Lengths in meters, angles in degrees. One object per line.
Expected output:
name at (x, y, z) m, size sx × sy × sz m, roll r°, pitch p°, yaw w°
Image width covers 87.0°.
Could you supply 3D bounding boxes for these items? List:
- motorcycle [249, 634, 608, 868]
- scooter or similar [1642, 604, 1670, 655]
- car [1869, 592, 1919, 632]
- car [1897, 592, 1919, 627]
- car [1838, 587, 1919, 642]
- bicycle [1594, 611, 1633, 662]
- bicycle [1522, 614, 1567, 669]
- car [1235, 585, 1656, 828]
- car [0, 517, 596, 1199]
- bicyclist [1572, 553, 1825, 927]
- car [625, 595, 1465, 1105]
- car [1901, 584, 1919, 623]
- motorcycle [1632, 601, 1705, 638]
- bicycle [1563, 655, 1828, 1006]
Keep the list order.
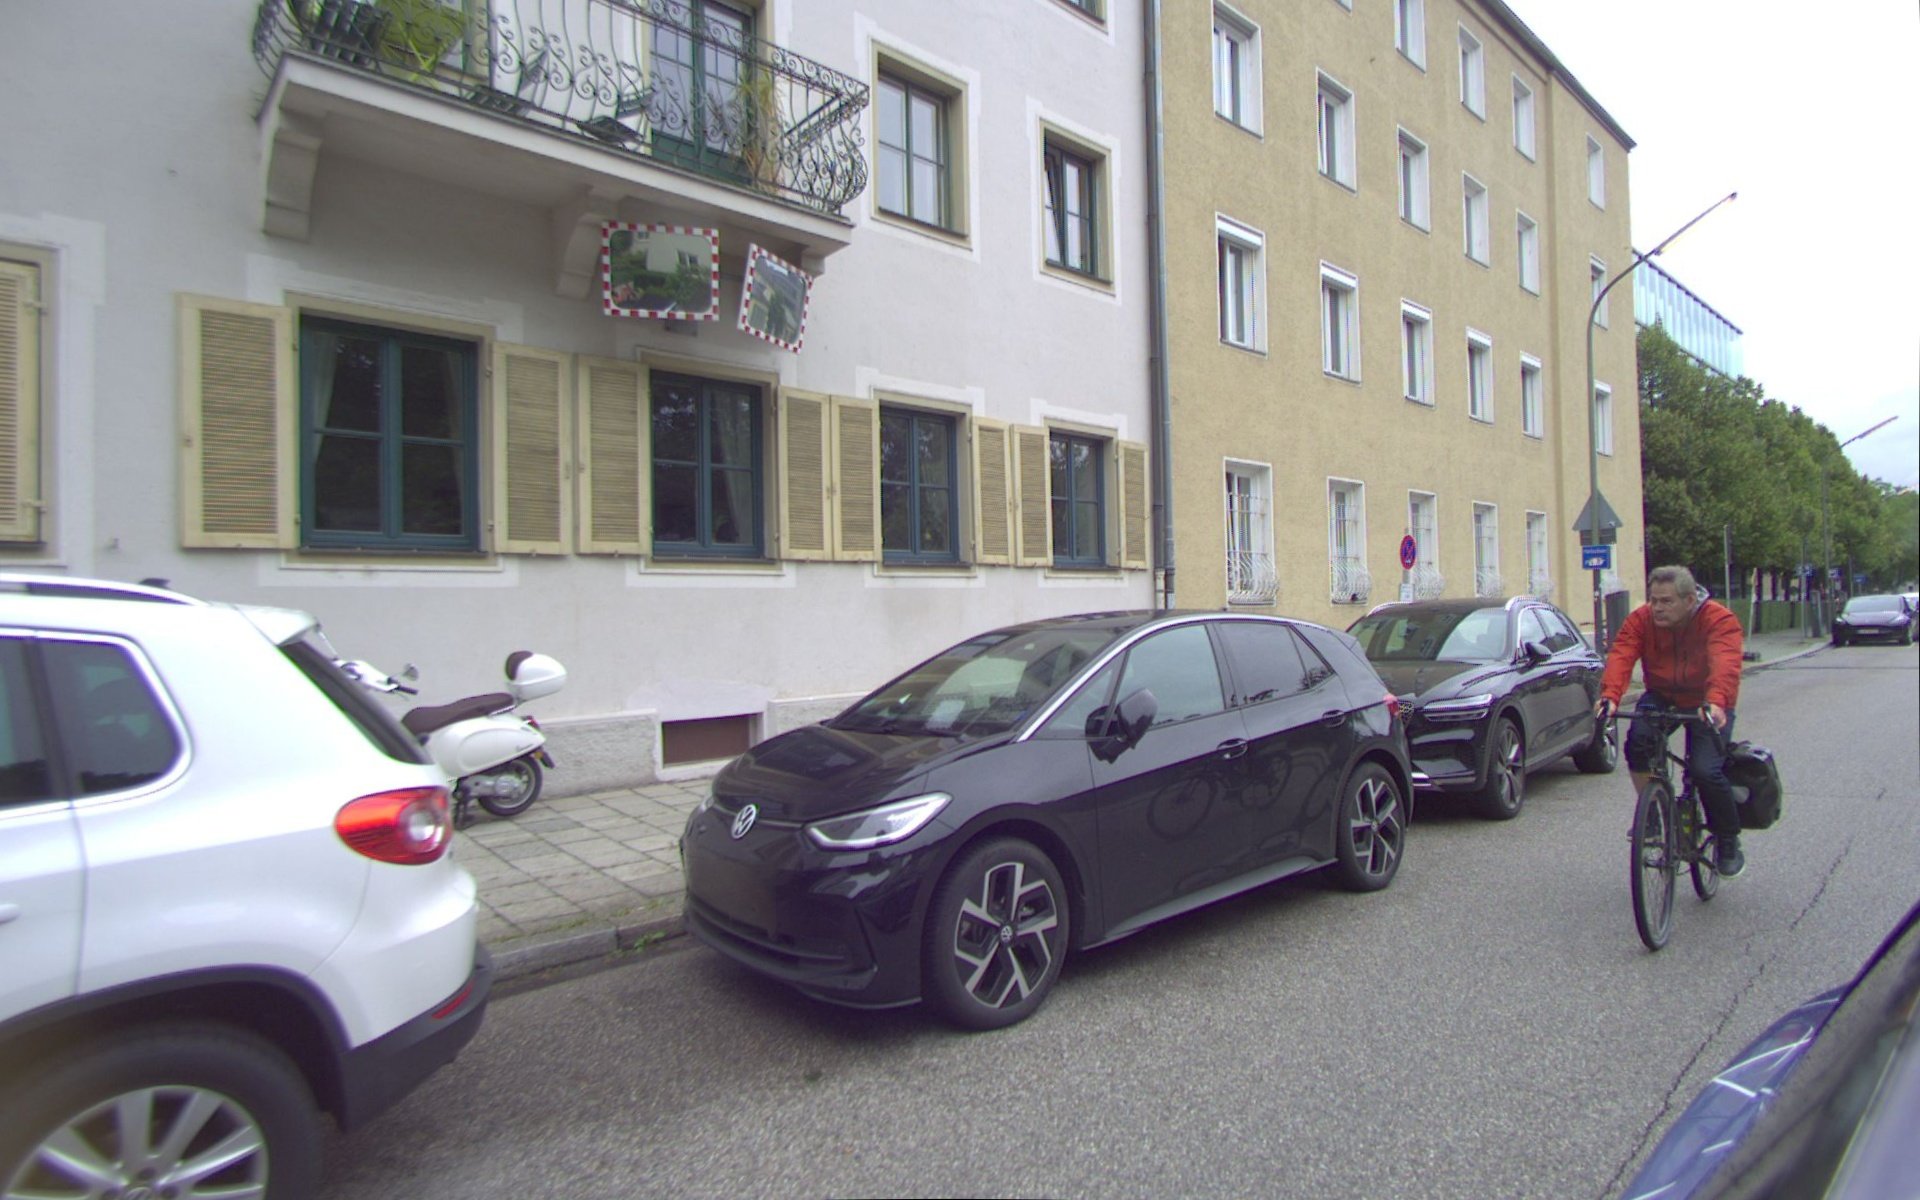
motorcycle at (-3.463, 0.901, 6.723) m, size 1.974 × 1.255 × 0.733 m, roll -1°, pitch -3°, yaw -43°
scooter or similar at (18.328, 0.762, 26.654) m, size 1.287 × 1.271 × 0.342 m, roll -1°, pitch 0°, yaw -43°
car at (37.582, 0.436, 40.118) m, size 1.994 × 1.479 × 4.877 m, roll -4°, pitch -3°, yaw 45°
car at (45.723, 0.416, 47.749) m, size 4.923 × 1.572 × 1.947 m, roll -1°, pitch -3°, yaw -45°
car at (30.919, 0.440, 33.506) m, size 5.010 × 1.652 × 1.996 m, roll -1°, pitch -3°, yaw -41°
bicycle at (15.591, 0.851, 24.135) m, size 1.729 × 1.150 × 0.342 m, roll 0°, pitch -1°, yaw -43°
bicycle at (12.596, 0.873, 21.796) m, size 1.783 × 1.095 × 0.342 m, roll -1°, pitch 1°, yaw -43°
car at (4.539, 0.692, 9.021) m, size 4.819 × 1.597 × 1.861 m, roll 0°, pitch 0°, yaw -45°
car at (-3.296, 0.769, 1.947) m, size 4.456 × 1.729 × 1.995 m, roll 0°, pitch -3°, yaw -42°
bicyclist at (3.436, 0.572, 4.696) m, size 0.754 × 1.502 × 0.966 m, roll -4°, pitch -3°, yaw 44°
car at (0.734, 0.773, 5.252) m, size 4.338 × 1.551 × 1.841 m, roll 0°, pitch 0°, yaw -41°
car at (49.756, 0.143, 51.908) m, size 4.497 × 1.920 × 1.786 m, roll -1°, pitch -3°, yaw -43°
motorcycle at (23.809, 0.639, 34.044) m, size 0.696 × 1.147 × 1.897 m, roll 0°, pitch 1°, yaw -41°
bicycle at (3.401, 0.880, 4.595) m, size 0.672 × 1.156 × 1.979 m, roll -4°, pitch -2°, yaw 43°
